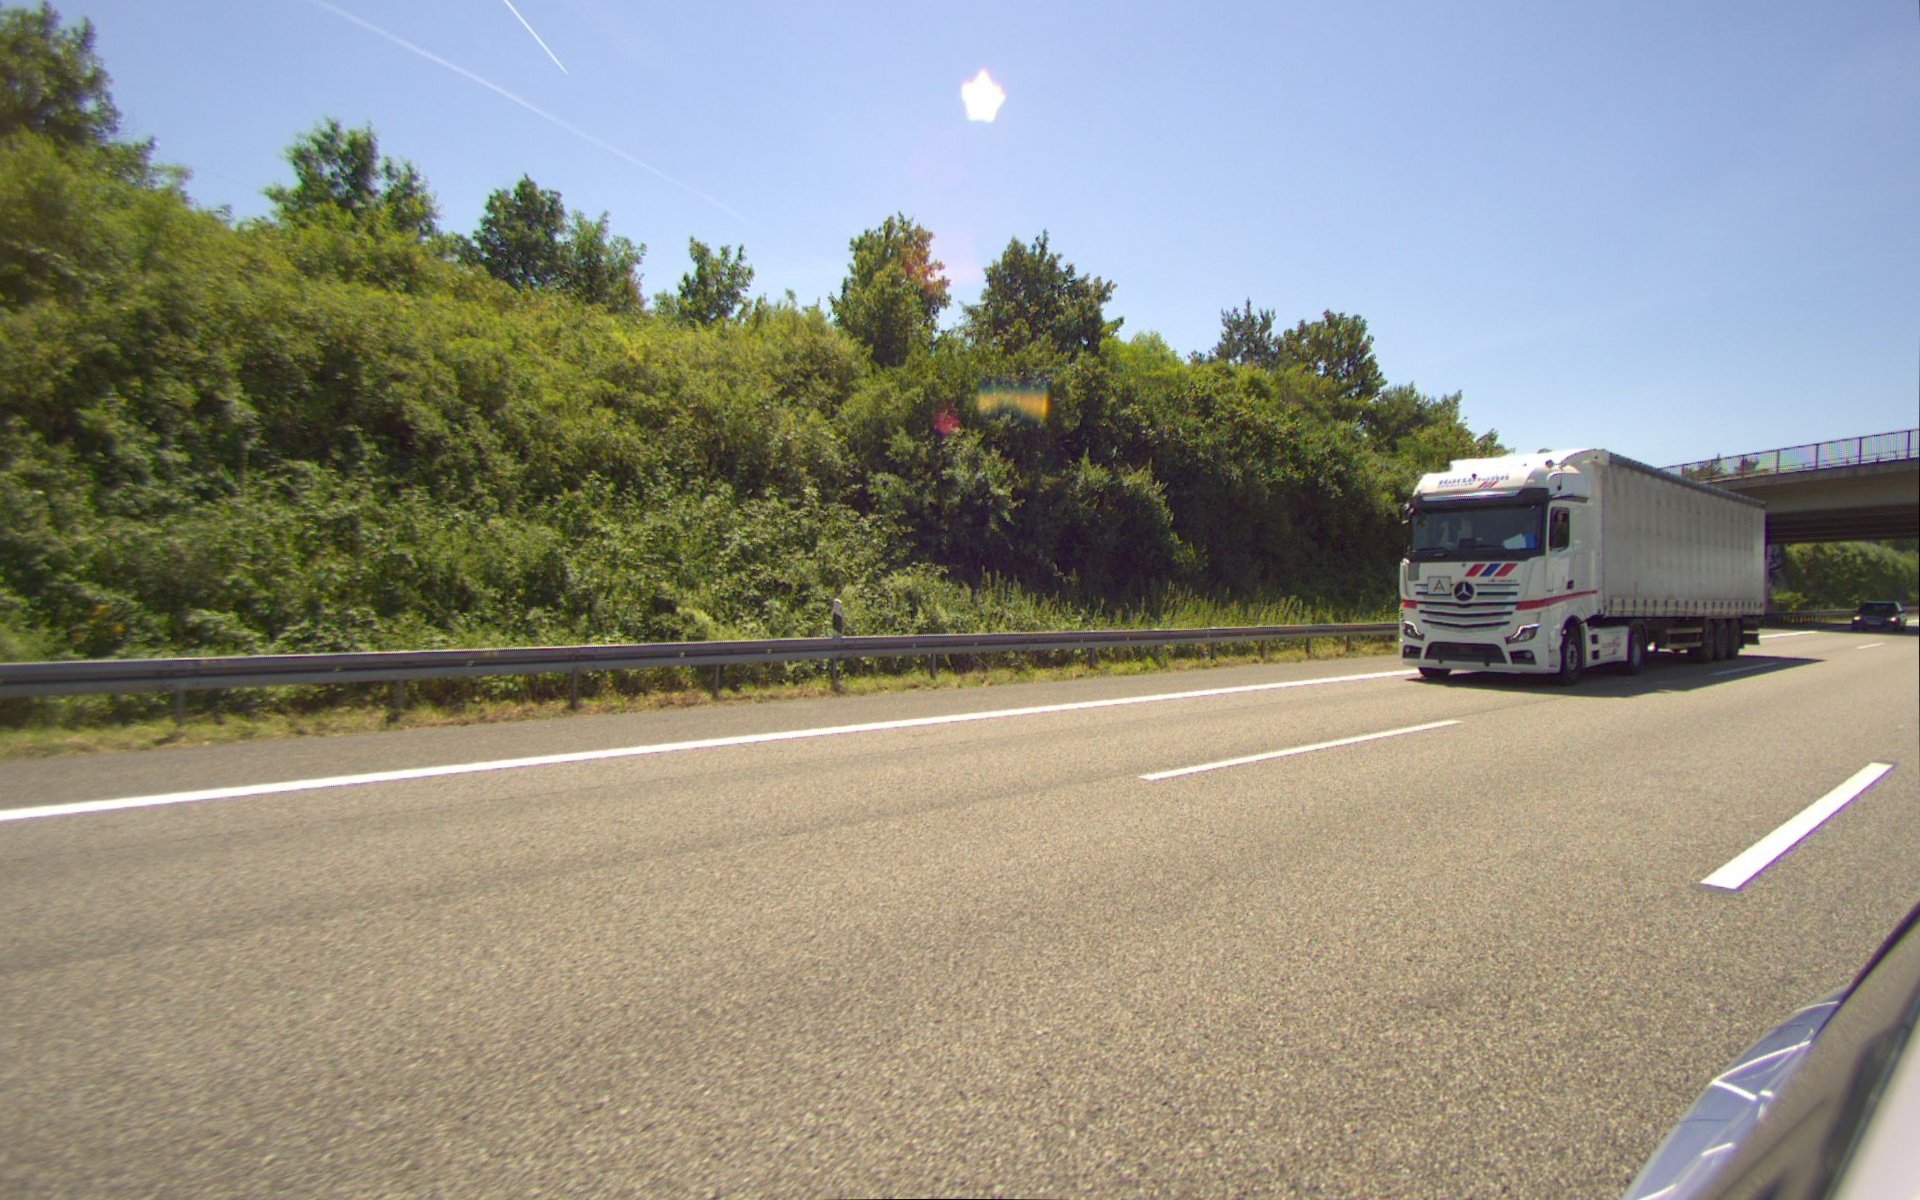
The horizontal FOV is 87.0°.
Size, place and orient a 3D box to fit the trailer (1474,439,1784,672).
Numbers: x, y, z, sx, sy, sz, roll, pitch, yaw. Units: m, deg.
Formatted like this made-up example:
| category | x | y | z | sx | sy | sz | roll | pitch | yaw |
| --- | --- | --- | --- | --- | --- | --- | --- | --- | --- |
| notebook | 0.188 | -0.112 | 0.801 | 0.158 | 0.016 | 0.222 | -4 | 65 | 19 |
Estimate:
| category | x | y | z | sx | sy | sz | roll | pitch | yaw |
| --- | --- | --- | --- | --- | --- | --- | --- | --- | --- |
| trailer | 15.946 | -0.853 | 23.371 | 12.961 | 4.154 | 2.733 | 0 | 1 | -42 |

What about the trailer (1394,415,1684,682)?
| category | x | y | z | sx | sy | sz | roll | pitch | yaw |
| --- | --- | --- | --- | --- | --- | --- | --- | --- | --- |
| trailer | 11.011 | -0.842 | 18.952 | 6.672 | 4.154 | 2.717 | 0 | 1 | -42 |

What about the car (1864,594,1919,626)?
| category | x | y | z | sx | sy | sz | roll | pitch | yaw |
| --- | --- | --- | --- | --- | --- | --- | --- | --- | --- |
| car | 45.148 | 0.452 | 48.810 | 4.480 | 1.430 | 1.838 | 0 | 0 | -42 |
